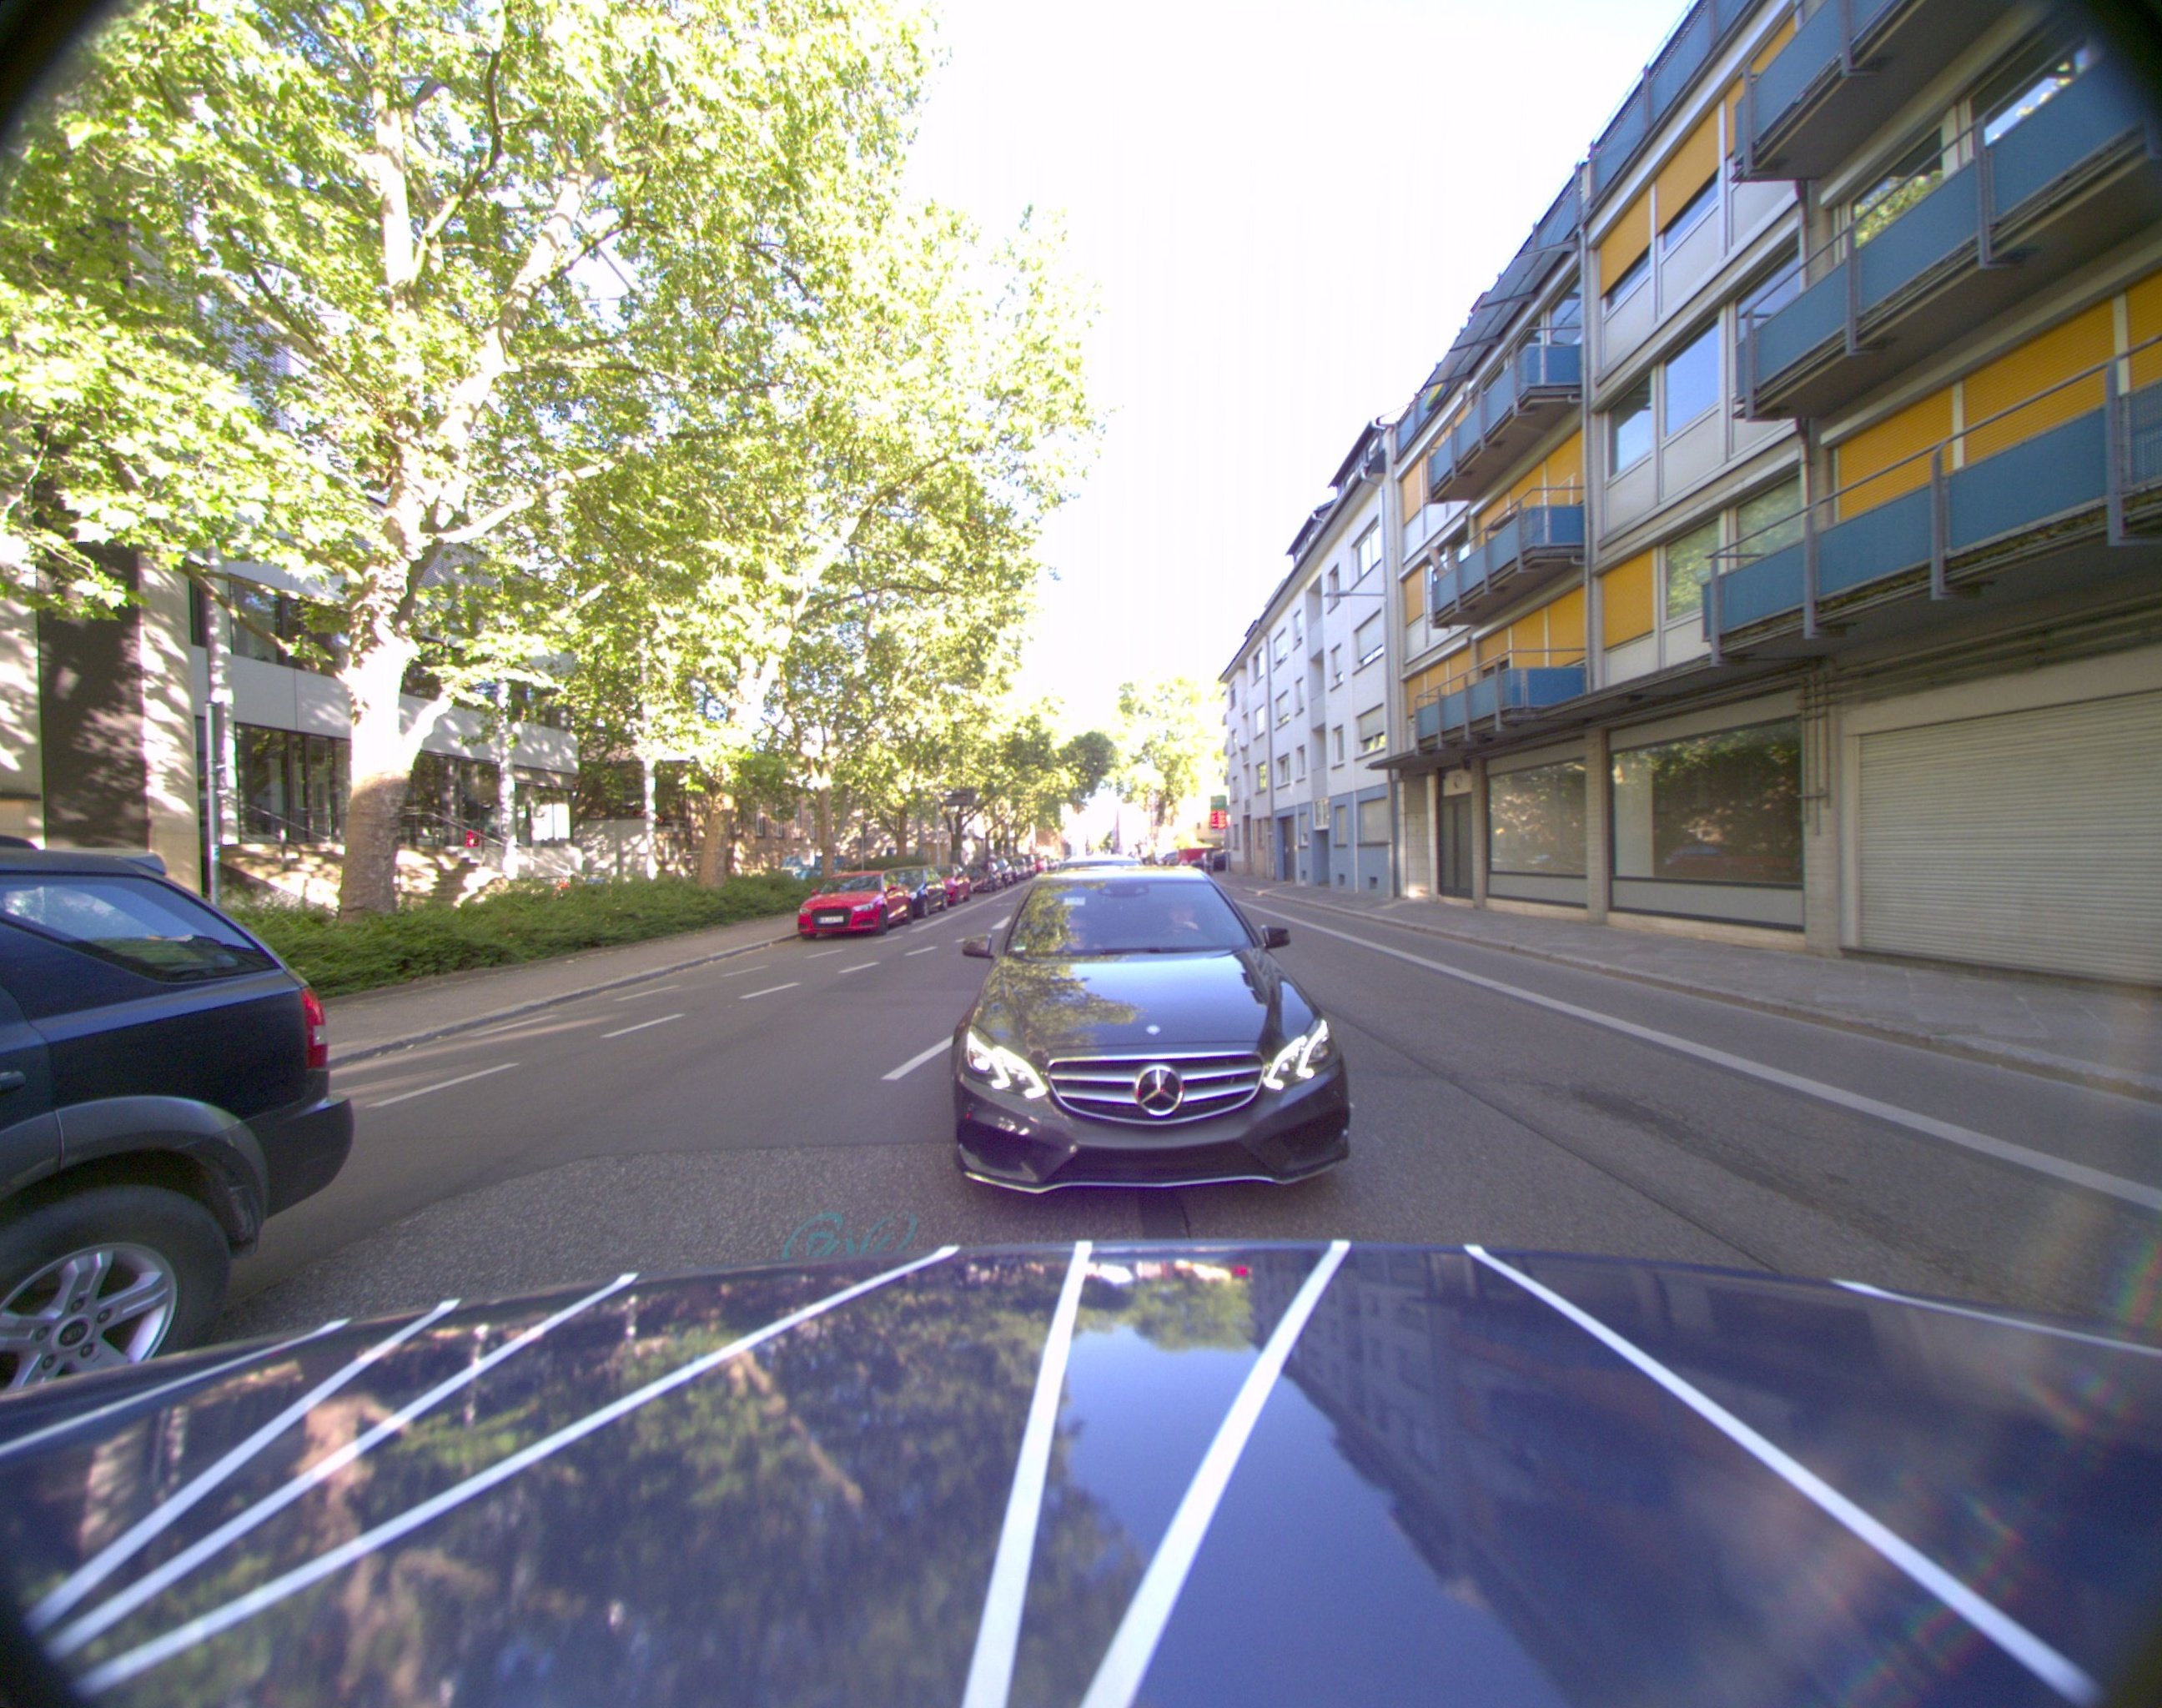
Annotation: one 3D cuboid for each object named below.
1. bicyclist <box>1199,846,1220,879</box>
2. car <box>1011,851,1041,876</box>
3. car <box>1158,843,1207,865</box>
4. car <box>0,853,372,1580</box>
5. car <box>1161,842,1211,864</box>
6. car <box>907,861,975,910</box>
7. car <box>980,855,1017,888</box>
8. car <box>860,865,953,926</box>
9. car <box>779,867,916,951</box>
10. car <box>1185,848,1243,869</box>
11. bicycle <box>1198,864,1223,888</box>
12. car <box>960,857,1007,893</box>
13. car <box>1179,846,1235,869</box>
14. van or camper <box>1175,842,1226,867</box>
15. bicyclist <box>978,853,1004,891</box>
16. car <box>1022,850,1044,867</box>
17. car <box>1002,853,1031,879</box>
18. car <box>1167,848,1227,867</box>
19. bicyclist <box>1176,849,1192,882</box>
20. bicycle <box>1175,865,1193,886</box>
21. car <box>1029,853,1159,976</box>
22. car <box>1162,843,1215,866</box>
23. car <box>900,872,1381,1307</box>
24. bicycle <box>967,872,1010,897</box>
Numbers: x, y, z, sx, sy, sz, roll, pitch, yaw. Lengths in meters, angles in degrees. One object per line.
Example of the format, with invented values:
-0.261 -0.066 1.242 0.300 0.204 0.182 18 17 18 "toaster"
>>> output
6.132 0.390 36.337 0.844 1.546 0.839 -2 1 0 "bicyclist"
-4.278 0.718 59.852 1.992 1.795 4.376 -2 0 0 "car"
11.037 -0.012 82.826 4.990 2.181 2.000 -2 1 1 "car"
-3.600 0.939 0.597 1.785 1.760 4.384 -3 0 2 "car"
11.034 -0.106 80.194 4.990 2.181 2.000 -2 1 1 "car"
-5.015 1.087 27.705 1.681 1.484 3.918 -4 0 0 "car"
-4.559 0.929 42.411 1.634 1.677 3.907 -2 0 0 "car"
-5.032 1.136 22.430 1.741 1.444 4.091 -4 0 0 "car"
-5.235 1.173 17.677 1.830 1.519 4.142 -4 0 0 "car"
10.314 0.320 58.965 4.146 1.486 2.000 -2 0 1 "car"
6.150 1.027 36.272 0.865 1.072 1.836 -2 0 1 "bicycle"
-4.738 0.985 37.330 1.741 1.622 4.091 -2 0 0 "car"
10.137 0.265 61.296 4.146 1.681 2.000 -2 0 1 "car"
10.059 0.019 64.202 3.997 2.002 2.000 -2 1 0 "van or camper"
-3.982 0.770 33.504 1.038 1.610 0.697 -2 1 -10 "bicyclist"
-4.384 0.434 70.449 1.741 1.469 4.091 -2 0 0 "car"
-4.614 0.817 54.813 1.741 1.785 3.895 -2 0 0 "car"
10.160 0.280 66.705 4.990 1.486 2.000 -2 0 1 "car"
4.909 0.546 36.246 0.686 1.569 0.982 -2 1 4 "bicyclist"
4.924 1.005 36.276 0.695 0.924 1.863 -2 0 3 "bicycle"
0.203 0.811 12.483 1.646 1.520 4.619 -4 0 1 "car"
10.914 0.021 77.343 4.990 2.181 2.000 -2 1 1 "car"
0.218 0.919 4.747 1.740 1.448 3.864 -2 0 0 "car"
-4.093 1.352 33.492 1.799 1.009 0.734 -2 1 -10 "bicycle"
